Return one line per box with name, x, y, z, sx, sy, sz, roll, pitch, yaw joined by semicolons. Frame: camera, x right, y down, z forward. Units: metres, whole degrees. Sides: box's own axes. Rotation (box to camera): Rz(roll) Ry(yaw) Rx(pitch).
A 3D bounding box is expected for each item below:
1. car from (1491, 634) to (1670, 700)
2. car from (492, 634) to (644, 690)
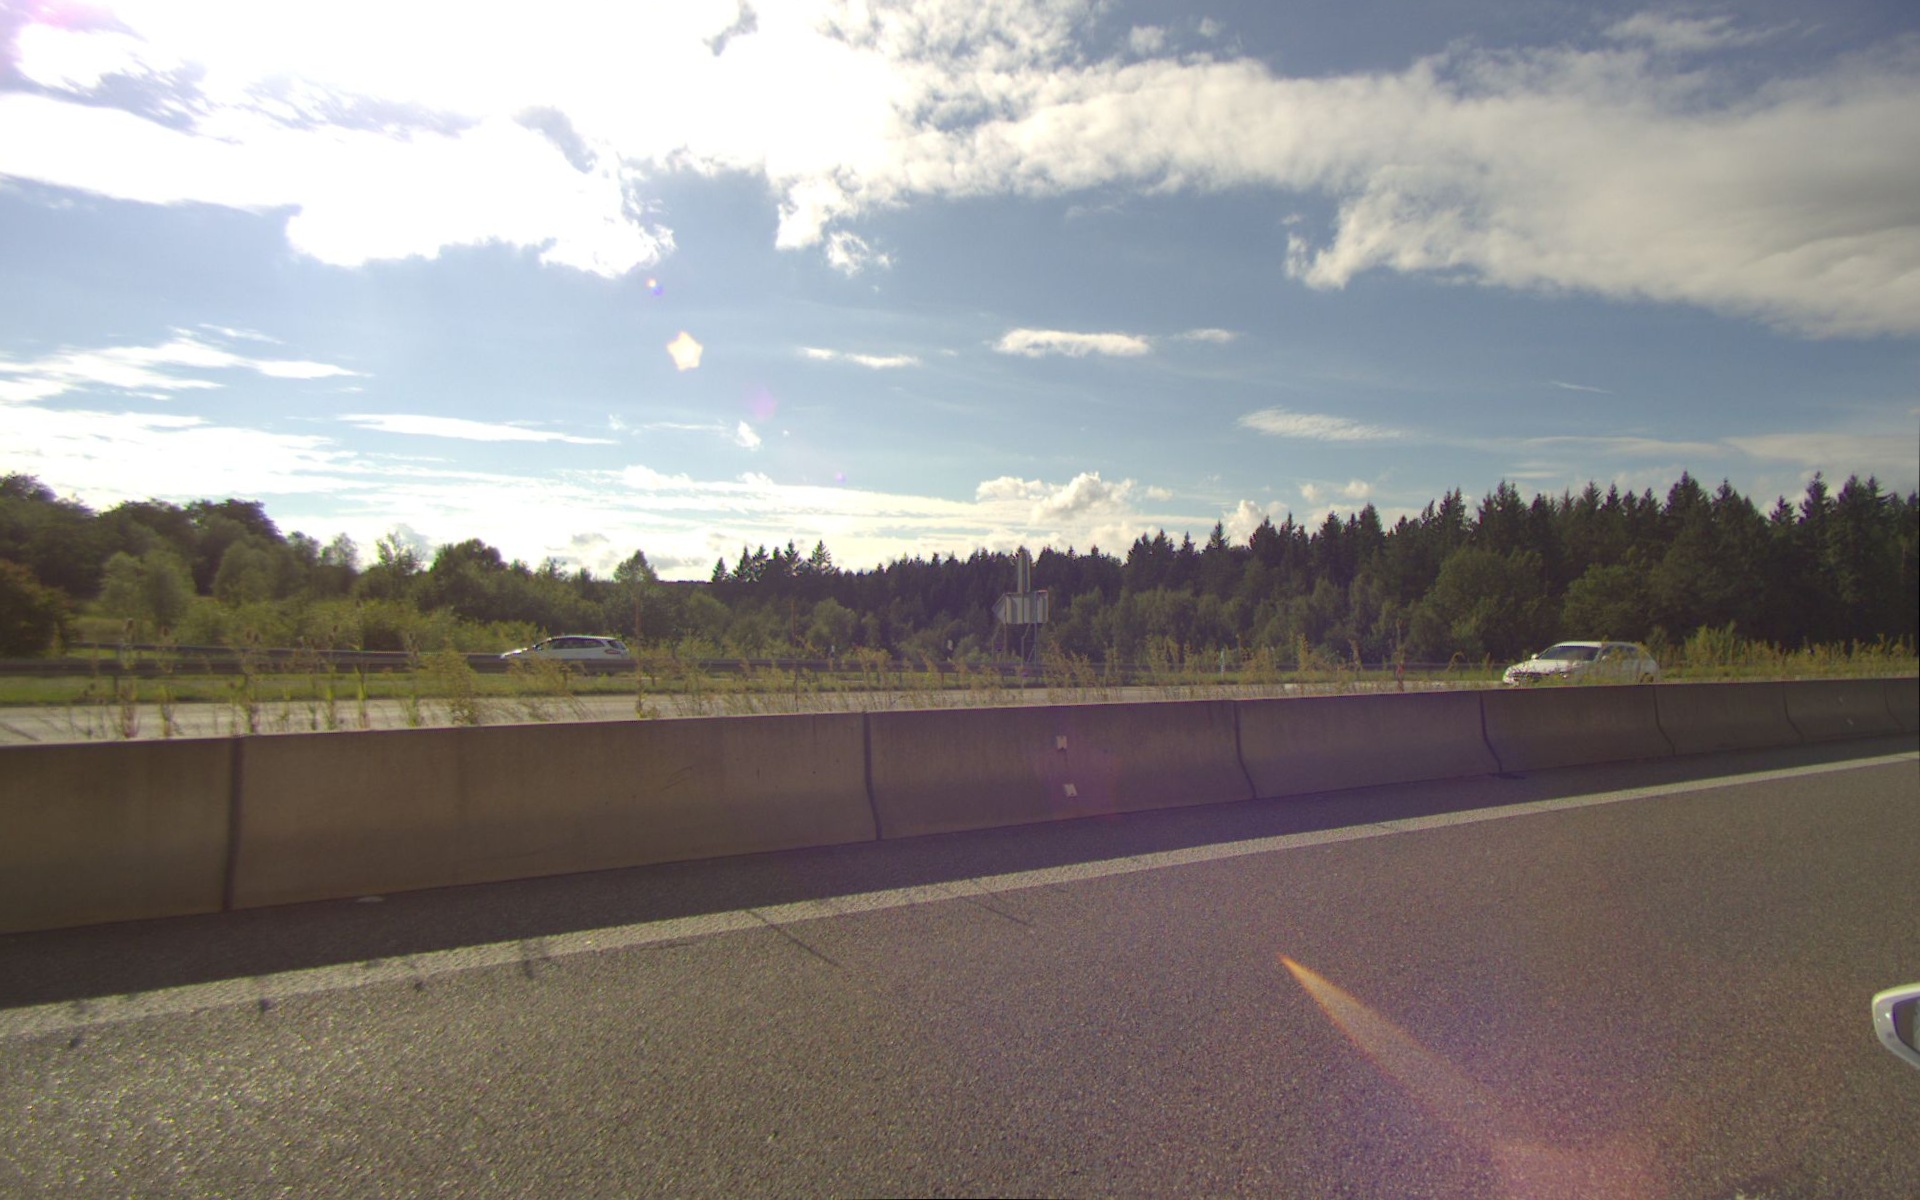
car;16.144;1.684;26.065;4.877;1.496;1.908;2;0;-31
car;-14.697;2.313;37.823;4.878;1.824;2.000;2;0;2
